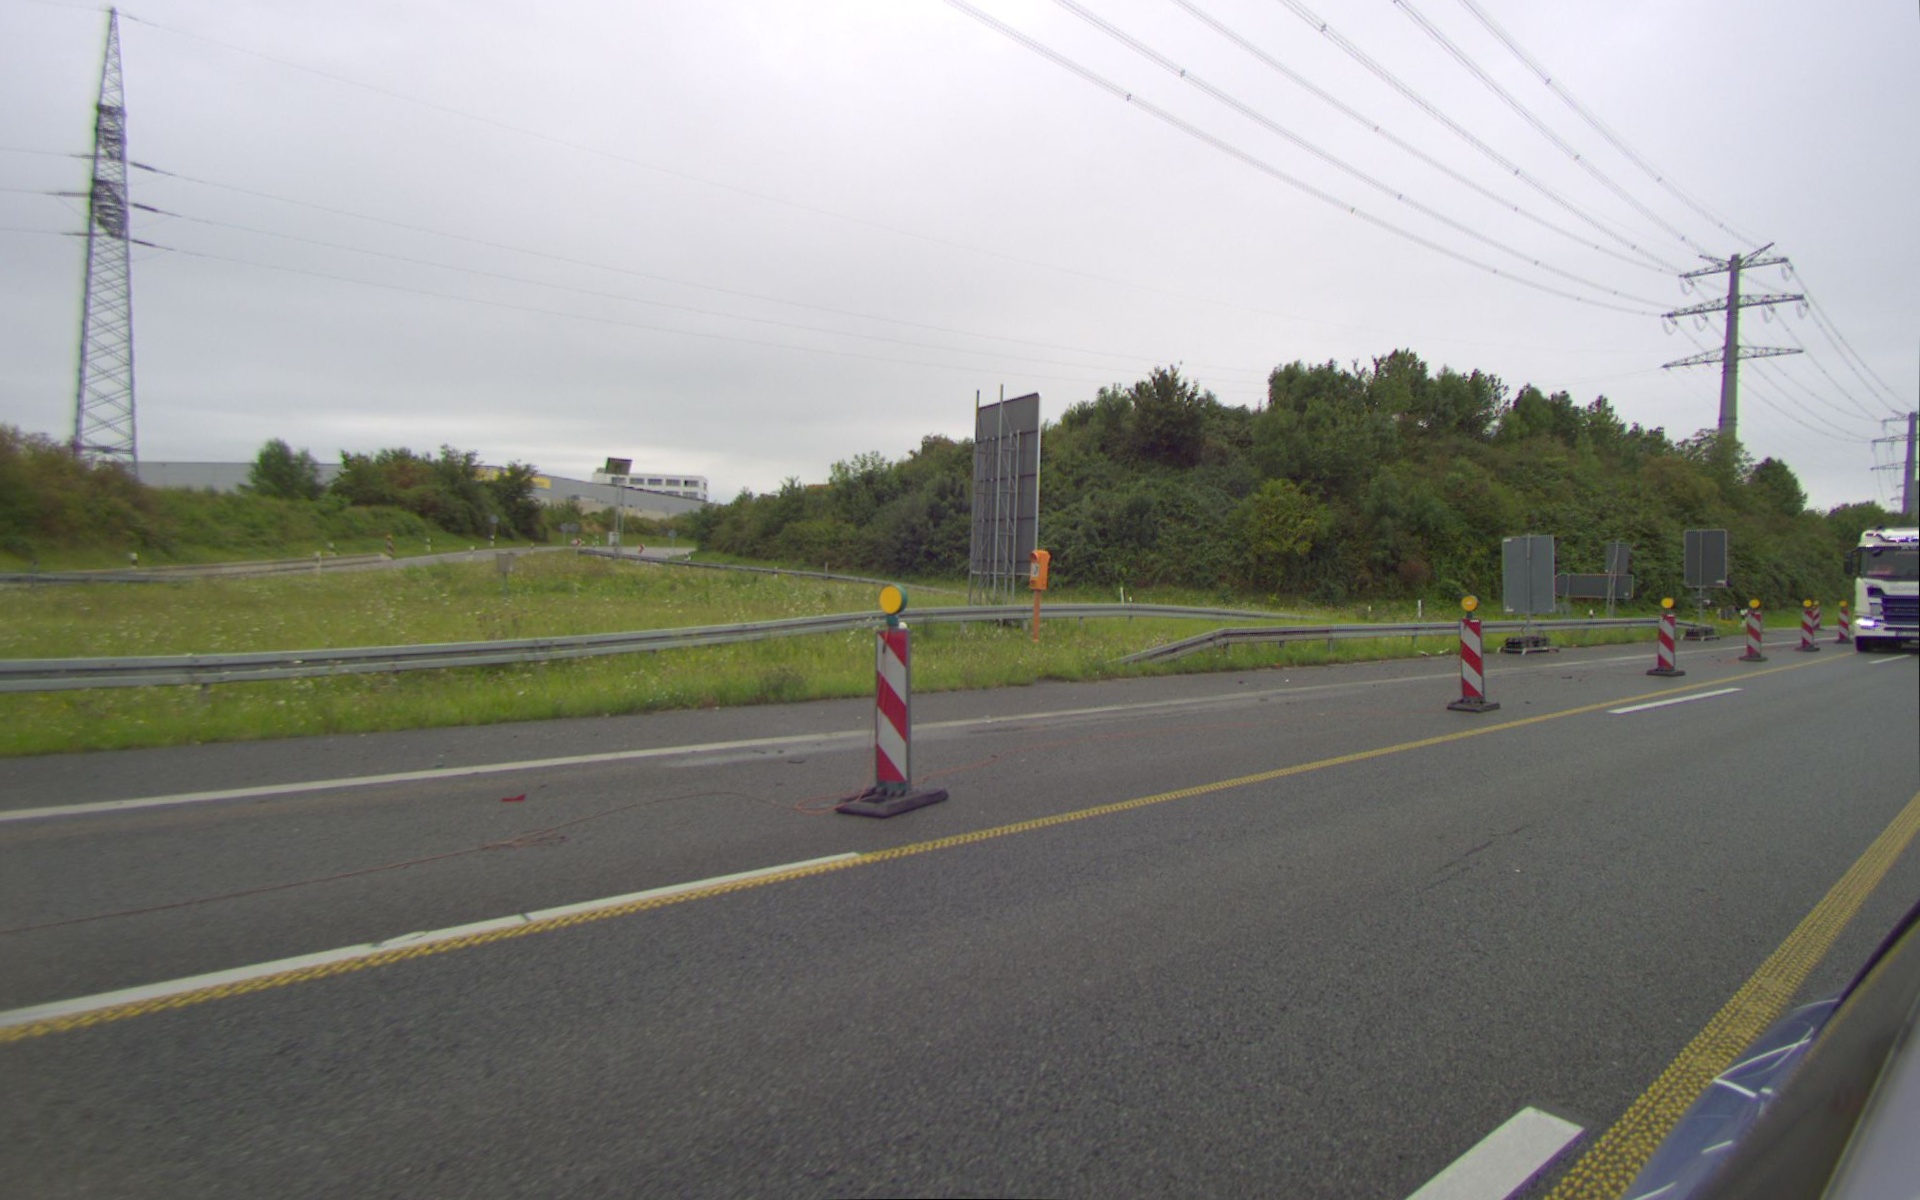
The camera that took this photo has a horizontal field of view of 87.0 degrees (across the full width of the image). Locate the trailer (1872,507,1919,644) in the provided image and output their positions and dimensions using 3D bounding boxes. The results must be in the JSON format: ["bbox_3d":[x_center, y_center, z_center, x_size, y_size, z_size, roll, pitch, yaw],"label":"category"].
[{"bbox_3d":[33.649,-0.814,34.102,13.905,4.053,2.806,-1,1,-42],"label":"trailer"}]

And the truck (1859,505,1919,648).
[{"bbox_3d":[28.657,-0.689,29.717,5.304,3.984,2.745,-1,1,-41],"label":"truck"}]
